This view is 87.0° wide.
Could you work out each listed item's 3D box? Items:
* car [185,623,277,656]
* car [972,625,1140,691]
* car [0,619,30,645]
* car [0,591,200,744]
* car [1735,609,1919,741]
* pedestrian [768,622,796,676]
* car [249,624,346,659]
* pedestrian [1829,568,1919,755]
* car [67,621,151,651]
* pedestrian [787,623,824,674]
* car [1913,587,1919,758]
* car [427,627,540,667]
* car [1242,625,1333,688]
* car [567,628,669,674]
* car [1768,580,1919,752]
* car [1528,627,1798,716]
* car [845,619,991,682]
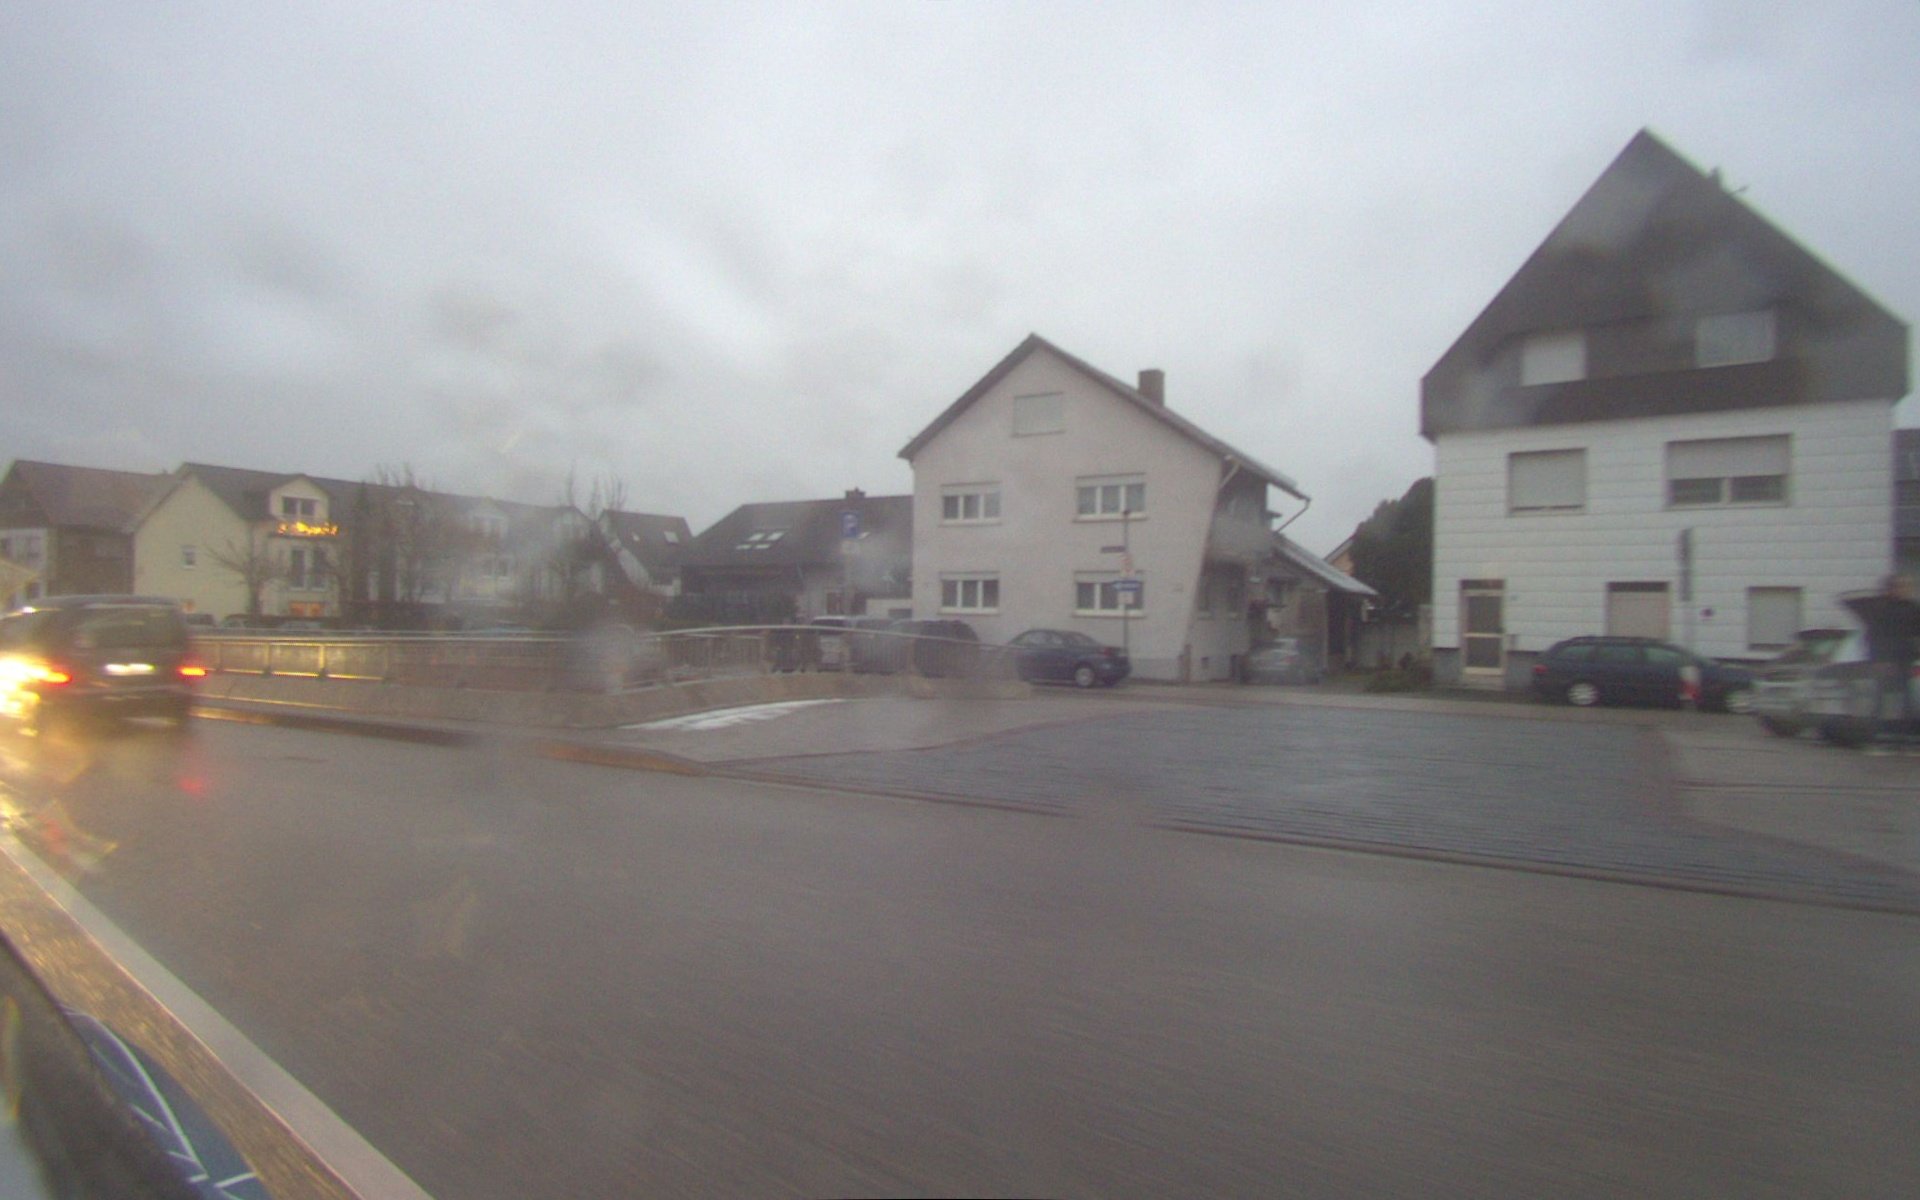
[{"bbox_3d":[-34.842,1.867,48.331,4.234,1.480,1.784,0,-2,26],"label":"car"},{"bbox_3d":[2.497,1.464,26.599,4.082,1.581,1.760,-1,-1,33],"label":"car"},{"bbox_3d":[-55.502,1.818,57.754,4.584,1.480,1.787,0,-2,22],"label":"car"},{"bbox_3d":[-12.299,0.849,13.894,4.124,1.826,1.705,-1,-1,33],"label":"car"},{"bbox_3d":[12.964,0.979,13.312,3.954,1.644,1.760,0,-3,9],"label":"car"},{"bbox_3d":[-4.348,1.184,24.716,0.594,1.312,0.511,0,-1,2],"label":"pedestrian"},{"bbox_3d":[-30.010,1.848,45.846,4.234,1.480,1.784,0,-2,26],"label":"car"},{"bbox_3d":[9.063,0.580,9.675,0.832,1.725,0.722,0,-3,9],"label":"pedestrian"},{"bbox_3d":[-44.586,1.896,53.032,3.990,1.480,1.663,-1,-4,22],"label":"car"},{"bbox_3d":[-3.868,1.207,25.330,0.601,1.259,0.685,-1,-2,35],"label":"pedestrian"},{"bbox_3d":[10.758,0.636,8.220,4.123,1.543,1.913,0,-2,1],"label":"car"},{"bbox_3d":[-18.893,1.842,40.109,4.234,1.480,1.784,0,-2,26],"label":"car"},{"bbox_3d":[9.992,1.730,30.705,1.712,1.695,3.957,1,-3,31],"label":"car"},{"bbox_3d":[-12.156,1.781,35.936,3.489,1.520,1.464,-1,-2,29],"label":"car"},{"bbox_3d":[11.295,0.707,10.706,3.847,1.683,1.837,0,-3,5],"label":"car"},{"bbox_3d":[14.472,1.407,21.008,4.418,1.511,1.893,-2,2,39],"label":"car"},{"bbox_3d":[-1.237,1.402,29.135,3.944,1.673,1.687,0,-1,30],"label":"car"}]
